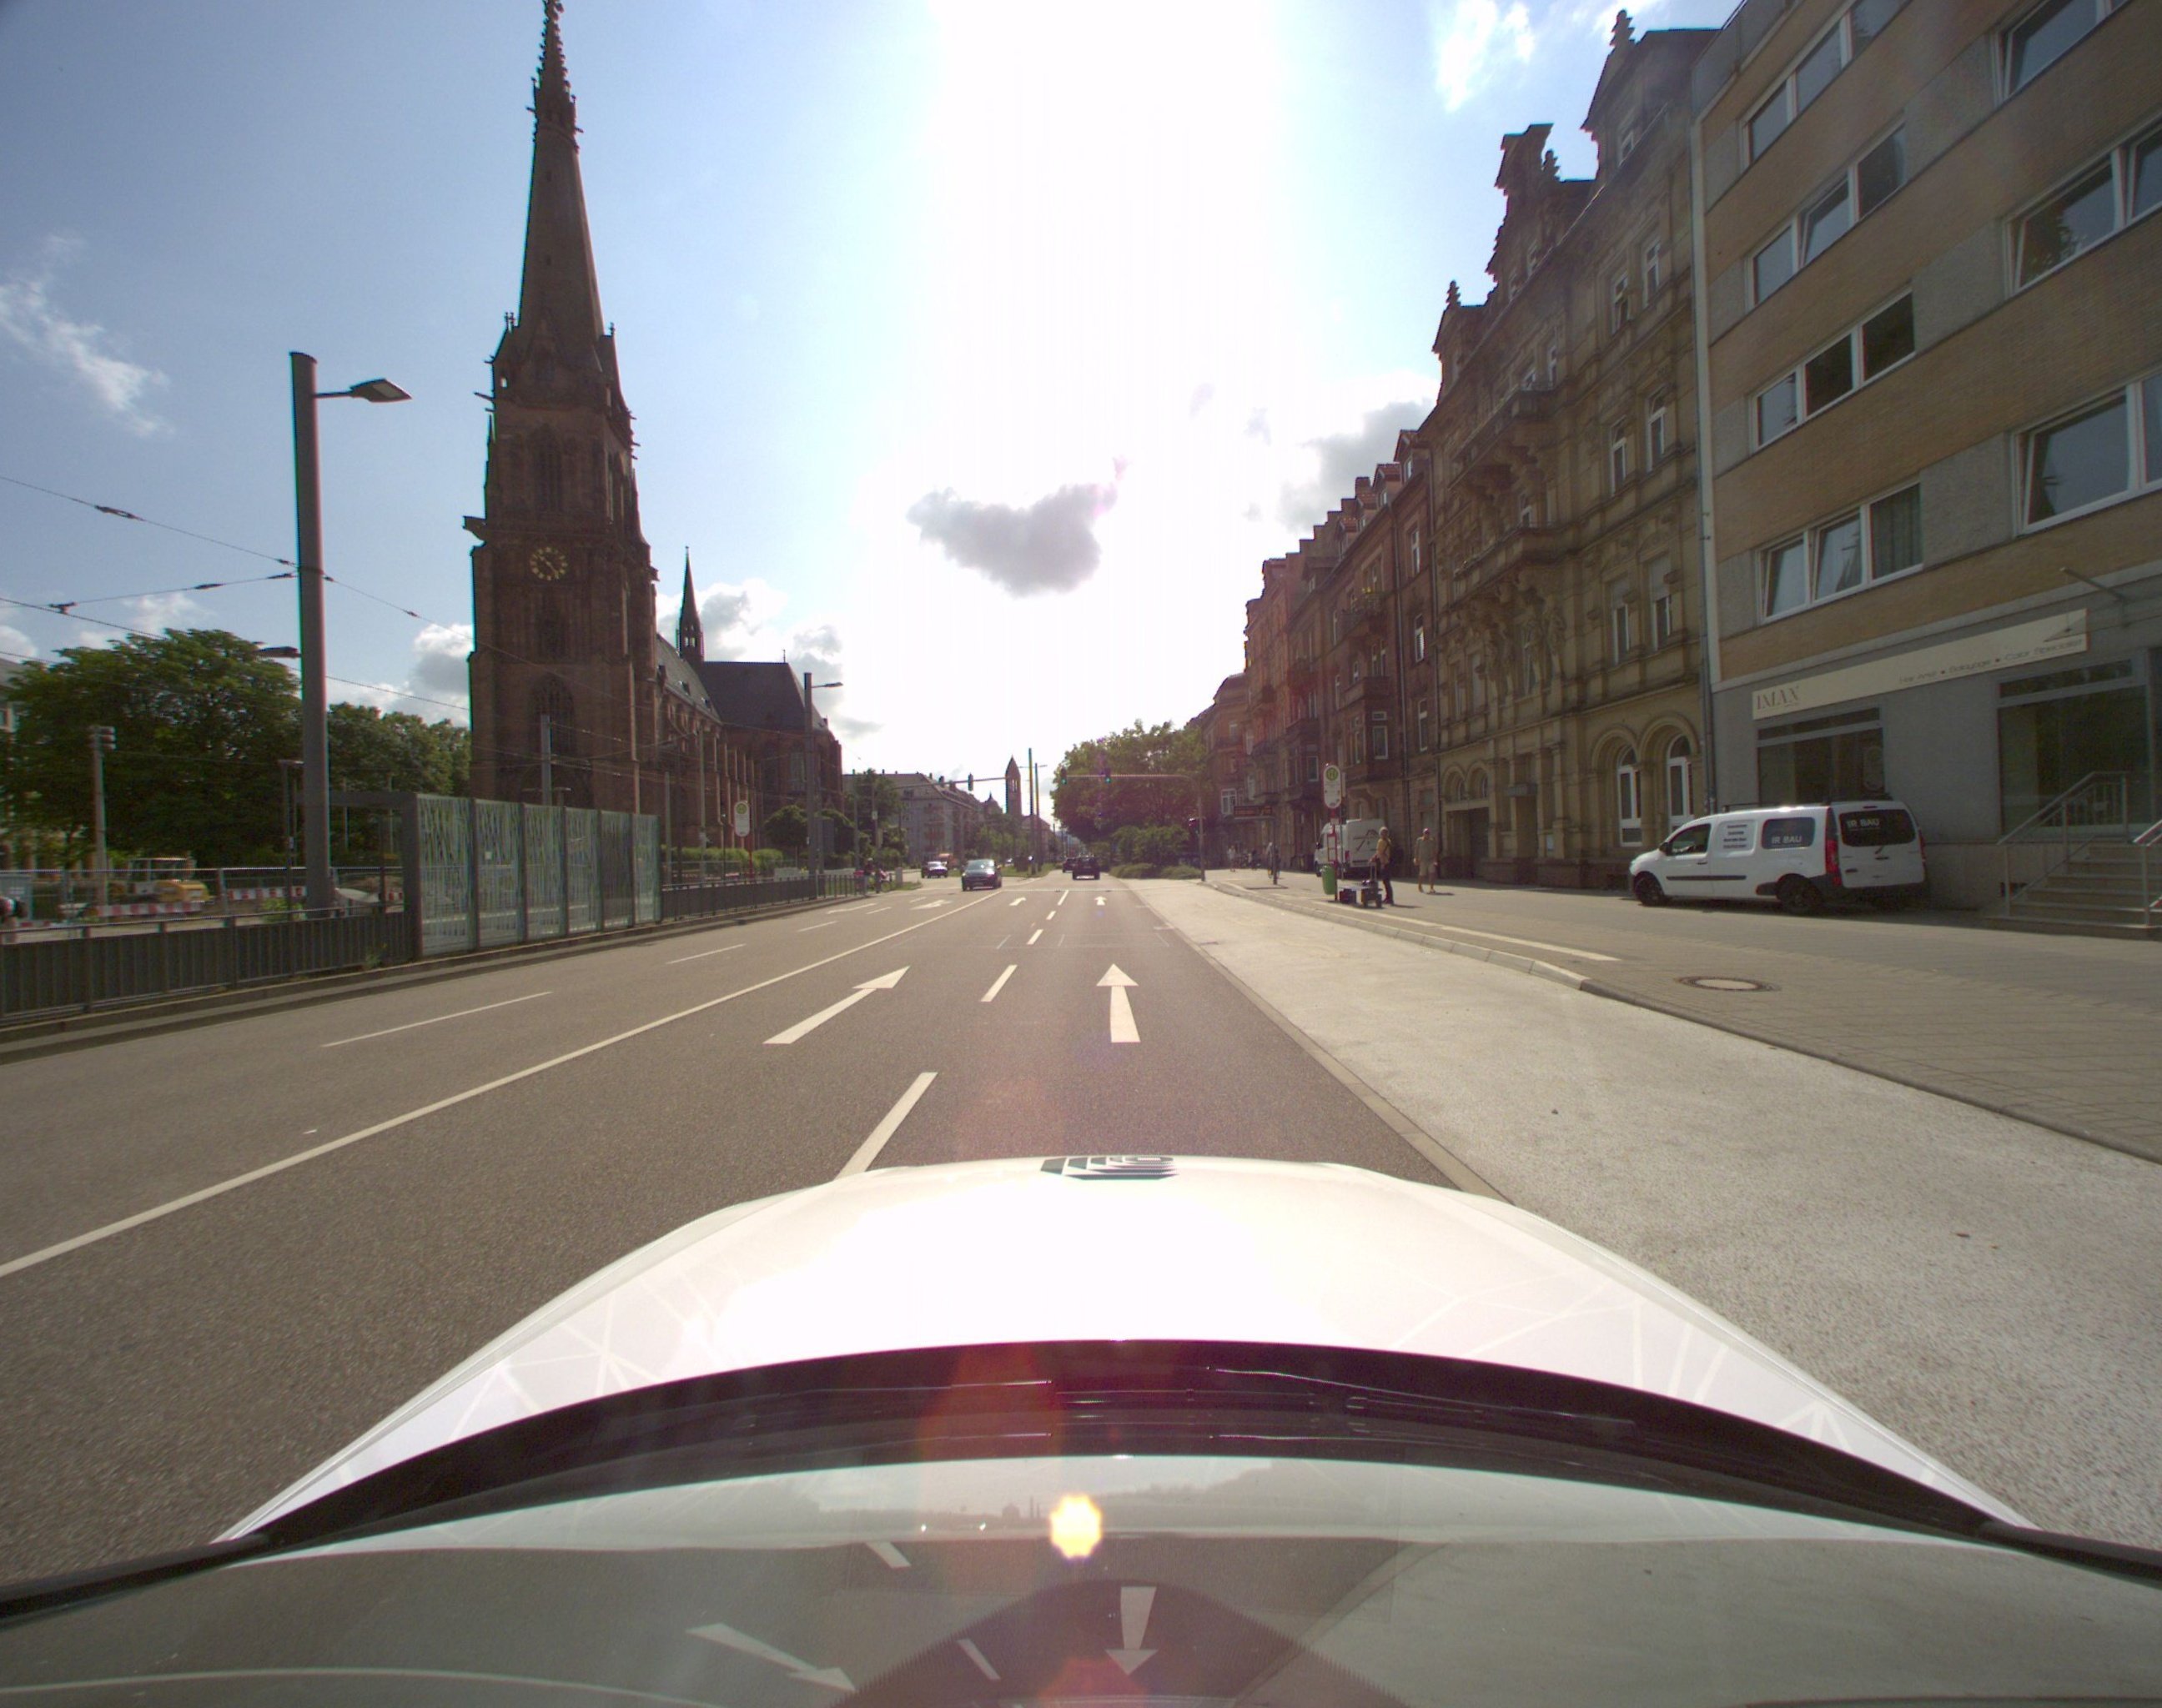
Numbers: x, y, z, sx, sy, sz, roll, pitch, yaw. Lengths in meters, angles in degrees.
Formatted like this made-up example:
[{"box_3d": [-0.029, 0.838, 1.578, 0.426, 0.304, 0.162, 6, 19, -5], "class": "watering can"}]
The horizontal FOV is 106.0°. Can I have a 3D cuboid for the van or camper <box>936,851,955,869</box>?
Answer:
[{"box_3d": [-22.037, 0.916, 132.602, 2.251, 2.737, 6.195, -2, 0, -3], "class": "van or camper"}]

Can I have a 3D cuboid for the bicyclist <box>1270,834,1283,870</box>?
[{"box_3d": [9.599, -0.086, 39.953, 0.426, 1.718, 0.828, -2, -1, 2], "class": "bicyclist"}]

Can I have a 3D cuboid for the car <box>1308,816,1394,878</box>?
[{"box_3d": [12.126, -0.315, 37.063, 1.986, 2.525, 5.889, -2, 0, 1], "class": "car"}]

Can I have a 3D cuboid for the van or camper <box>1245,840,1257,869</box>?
[{"box_3d": [11.914, 0.033, 57.134, 0.664, 2.013, 0.638, -2, 0, 1], "class": "van or camper"}]

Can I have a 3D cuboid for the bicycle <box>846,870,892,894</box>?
[{"box_3d": [-10.842, 1.429, 41.699, 2.005, 1.126, 0.934, -2, 0, 11], "class": "bicycle"}]

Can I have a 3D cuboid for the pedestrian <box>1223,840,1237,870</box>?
[{"box_3d": [10.371, 0.087, 56.703, 0.765, 2.013, 0.715, -2, 0, 1], "class": "pedestrian"}]

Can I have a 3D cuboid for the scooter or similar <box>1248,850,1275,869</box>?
[{"box_3d": [12.862, 0.394, 57.967, 1.763, 1.185, 0.466, -4, -1, 0], "class": "scooter or similar"}]

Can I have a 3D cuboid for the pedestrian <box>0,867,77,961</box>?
[{"box_3d": [-23.597, 1.318, 18.154, 1.061, 2.013, 1.052, -2, 0, 4], "class": "pedestrian"}]

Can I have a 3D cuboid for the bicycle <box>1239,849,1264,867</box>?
[{"box_3d": [12.814, 0.280, 61.223, 1.738, 1.267, 0.467, -2, 2, 4], "class": "bicycle"}]

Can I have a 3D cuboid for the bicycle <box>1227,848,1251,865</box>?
[{"box_3d": [12.639, 0.171, 65.118, 1.761, 1.267, 0.467, -2, 2, 4], "class": "bicycle"}]

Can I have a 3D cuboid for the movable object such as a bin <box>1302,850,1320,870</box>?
[{"box_3d": [13.379, 0.353, 47.359, 0.783, 1.107, 0.776, -2, 0, -1], "class": "movable object such as a bin"}]

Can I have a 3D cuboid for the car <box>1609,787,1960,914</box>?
[{"box_3d": [12.253, -0.027, 14.760, 1.990, 1.862, 4.744, -2, -1, -5], "class": "car"}]

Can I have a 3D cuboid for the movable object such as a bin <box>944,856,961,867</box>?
[{"box_3d": [-21.858, 1.275, 138.612, 2.199, 1.693, 3.718, -2, 2, 1], "class": "movable object such as a bin"}]

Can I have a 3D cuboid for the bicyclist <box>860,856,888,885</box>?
[{"box_3d": [-10.590, 0.835, 41.703, 1.082, 1.436, 0.827, -2, 0, 10], "class": "bicyclist"}]

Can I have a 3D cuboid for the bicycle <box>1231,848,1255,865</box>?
[{"box_3d": [12.657, 0.208, 63.475, 1.761, 1.267, 0.467, -2, 2, 4], "class": "bicycle"}]

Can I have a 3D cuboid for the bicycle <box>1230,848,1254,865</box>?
[{"box_3d": [12.664, 0.159, 64.098, 1.761, 1.267, 0.467, -2, 2, 4], "class": "bicycle"}]

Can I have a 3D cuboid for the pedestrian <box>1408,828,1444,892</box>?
[{"box_3d": [10.211, 0.170, 24.094, 0.662, 1.836, 0.693, -2, 0, -6], "class": "pedestrian"}]

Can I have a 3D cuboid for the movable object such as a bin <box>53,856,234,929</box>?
[{"box_3d": [-41.121, 1.642, 35.840, 5.132, 2.911, 1.995, -2, 0, -7], "class": "movable object such as a bin"}]

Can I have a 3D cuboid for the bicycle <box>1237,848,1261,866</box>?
[{"box_3d": [12.758, 0.241, 61.900, 1.761, 1.267, 0.467, -2, 2, 4], "class": "bicycle"}]

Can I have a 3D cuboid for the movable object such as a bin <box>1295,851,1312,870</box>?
[{"box_3d": [13.372, 0.390, 49.009, 0.783, 1.107, 0.776, -2, 0, -1], "class": "movable object such as a bin"}]

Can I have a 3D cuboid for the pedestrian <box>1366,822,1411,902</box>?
[{"box_3d": [7.519, 0.197, 19.942, 0.664, 1.903, 0.690, -2, 0, -18], "class": "pedestrian"}]

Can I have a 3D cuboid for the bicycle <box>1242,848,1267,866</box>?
[{"box_3d": [12.920, 0.252, 60.684, 1.761, 1.267, 0.467, -2, 2, 4], "class": "bicycle"}]

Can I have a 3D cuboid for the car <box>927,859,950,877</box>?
[{"box_3d": [-13.489, 1.318, 76.810, 1.802, 1.552, 4.274, -1, 0, -14], "class": "car"}]

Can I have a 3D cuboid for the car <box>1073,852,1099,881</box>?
[{"box_3d": [0.317, 0.826, 56.205, 1.684, 1.711, 3.608, -2, 2, -1], "class": "car"}]

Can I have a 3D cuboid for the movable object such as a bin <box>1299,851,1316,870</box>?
[{"box_3d": [13.376, 0.380, 48.115, 0.783, 1.107, 0.776, -2, 0, -1], "class": "movable object such as a bin"}]

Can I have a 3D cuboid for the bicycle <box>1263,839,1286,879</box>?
[{"box_3d": [9.464, 0.245, 39.906, 0.681, 1.925, 1.590, -2, 0, 2], "class": "bicycle"}]

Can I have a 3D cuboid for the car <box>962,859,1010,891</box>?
[{"box_3d": [-4.629, 0.996, 40.094, 1.910, 1.417, 3.740, -2, 0, 0], "class": "car"}]

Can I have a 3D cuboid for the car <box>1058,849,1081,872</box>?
[{"box_3d": [-1.136, 0.618, 78.065, 1.988, 2.013, 3.997, -2, 0, -2], "class": "car"}]
